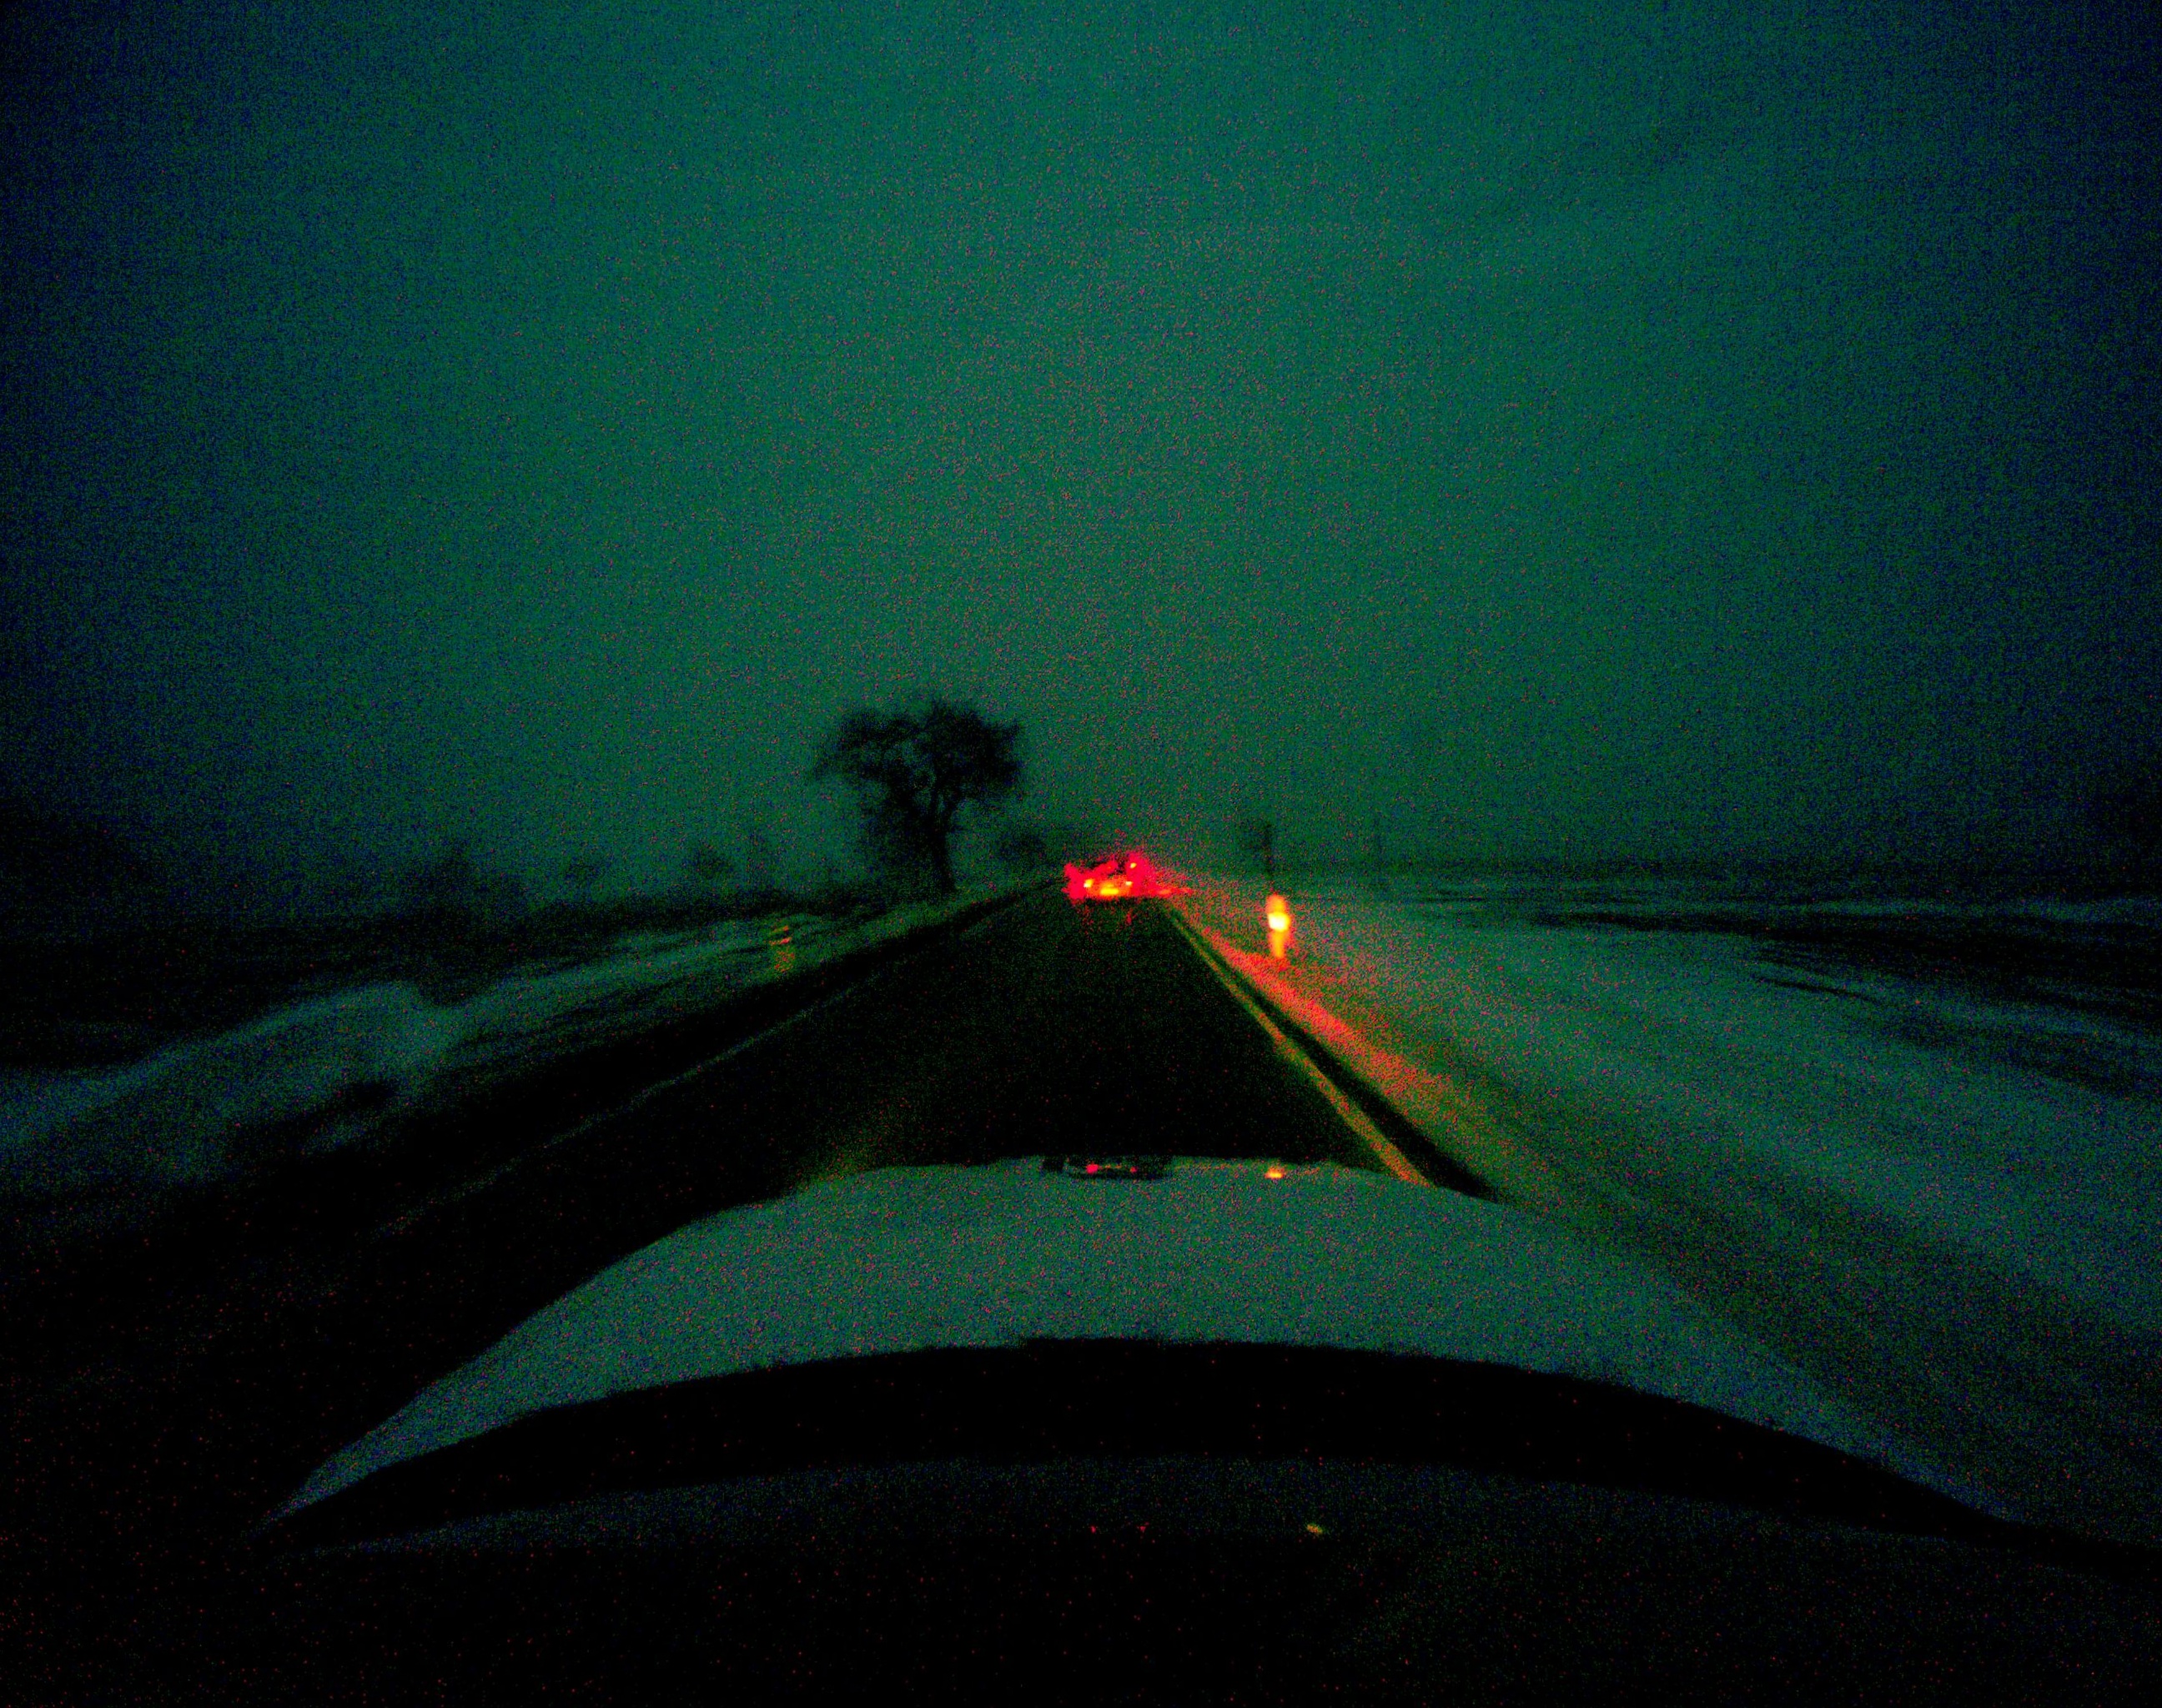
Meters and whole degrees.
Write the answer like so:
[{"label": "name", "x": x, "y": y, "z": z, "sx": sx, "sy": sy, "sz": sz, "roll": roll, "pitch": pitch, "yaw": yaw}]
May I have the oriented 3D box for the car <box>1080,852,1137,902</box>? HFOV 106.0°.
[{"label": "car", "x": 0.833, "y": 0.706, "z": 26.223, "sx": 1.701, "sy": 1.463, "sz": 3.999, "roll": 0, "pitch": -1, "yaw": 0}]
